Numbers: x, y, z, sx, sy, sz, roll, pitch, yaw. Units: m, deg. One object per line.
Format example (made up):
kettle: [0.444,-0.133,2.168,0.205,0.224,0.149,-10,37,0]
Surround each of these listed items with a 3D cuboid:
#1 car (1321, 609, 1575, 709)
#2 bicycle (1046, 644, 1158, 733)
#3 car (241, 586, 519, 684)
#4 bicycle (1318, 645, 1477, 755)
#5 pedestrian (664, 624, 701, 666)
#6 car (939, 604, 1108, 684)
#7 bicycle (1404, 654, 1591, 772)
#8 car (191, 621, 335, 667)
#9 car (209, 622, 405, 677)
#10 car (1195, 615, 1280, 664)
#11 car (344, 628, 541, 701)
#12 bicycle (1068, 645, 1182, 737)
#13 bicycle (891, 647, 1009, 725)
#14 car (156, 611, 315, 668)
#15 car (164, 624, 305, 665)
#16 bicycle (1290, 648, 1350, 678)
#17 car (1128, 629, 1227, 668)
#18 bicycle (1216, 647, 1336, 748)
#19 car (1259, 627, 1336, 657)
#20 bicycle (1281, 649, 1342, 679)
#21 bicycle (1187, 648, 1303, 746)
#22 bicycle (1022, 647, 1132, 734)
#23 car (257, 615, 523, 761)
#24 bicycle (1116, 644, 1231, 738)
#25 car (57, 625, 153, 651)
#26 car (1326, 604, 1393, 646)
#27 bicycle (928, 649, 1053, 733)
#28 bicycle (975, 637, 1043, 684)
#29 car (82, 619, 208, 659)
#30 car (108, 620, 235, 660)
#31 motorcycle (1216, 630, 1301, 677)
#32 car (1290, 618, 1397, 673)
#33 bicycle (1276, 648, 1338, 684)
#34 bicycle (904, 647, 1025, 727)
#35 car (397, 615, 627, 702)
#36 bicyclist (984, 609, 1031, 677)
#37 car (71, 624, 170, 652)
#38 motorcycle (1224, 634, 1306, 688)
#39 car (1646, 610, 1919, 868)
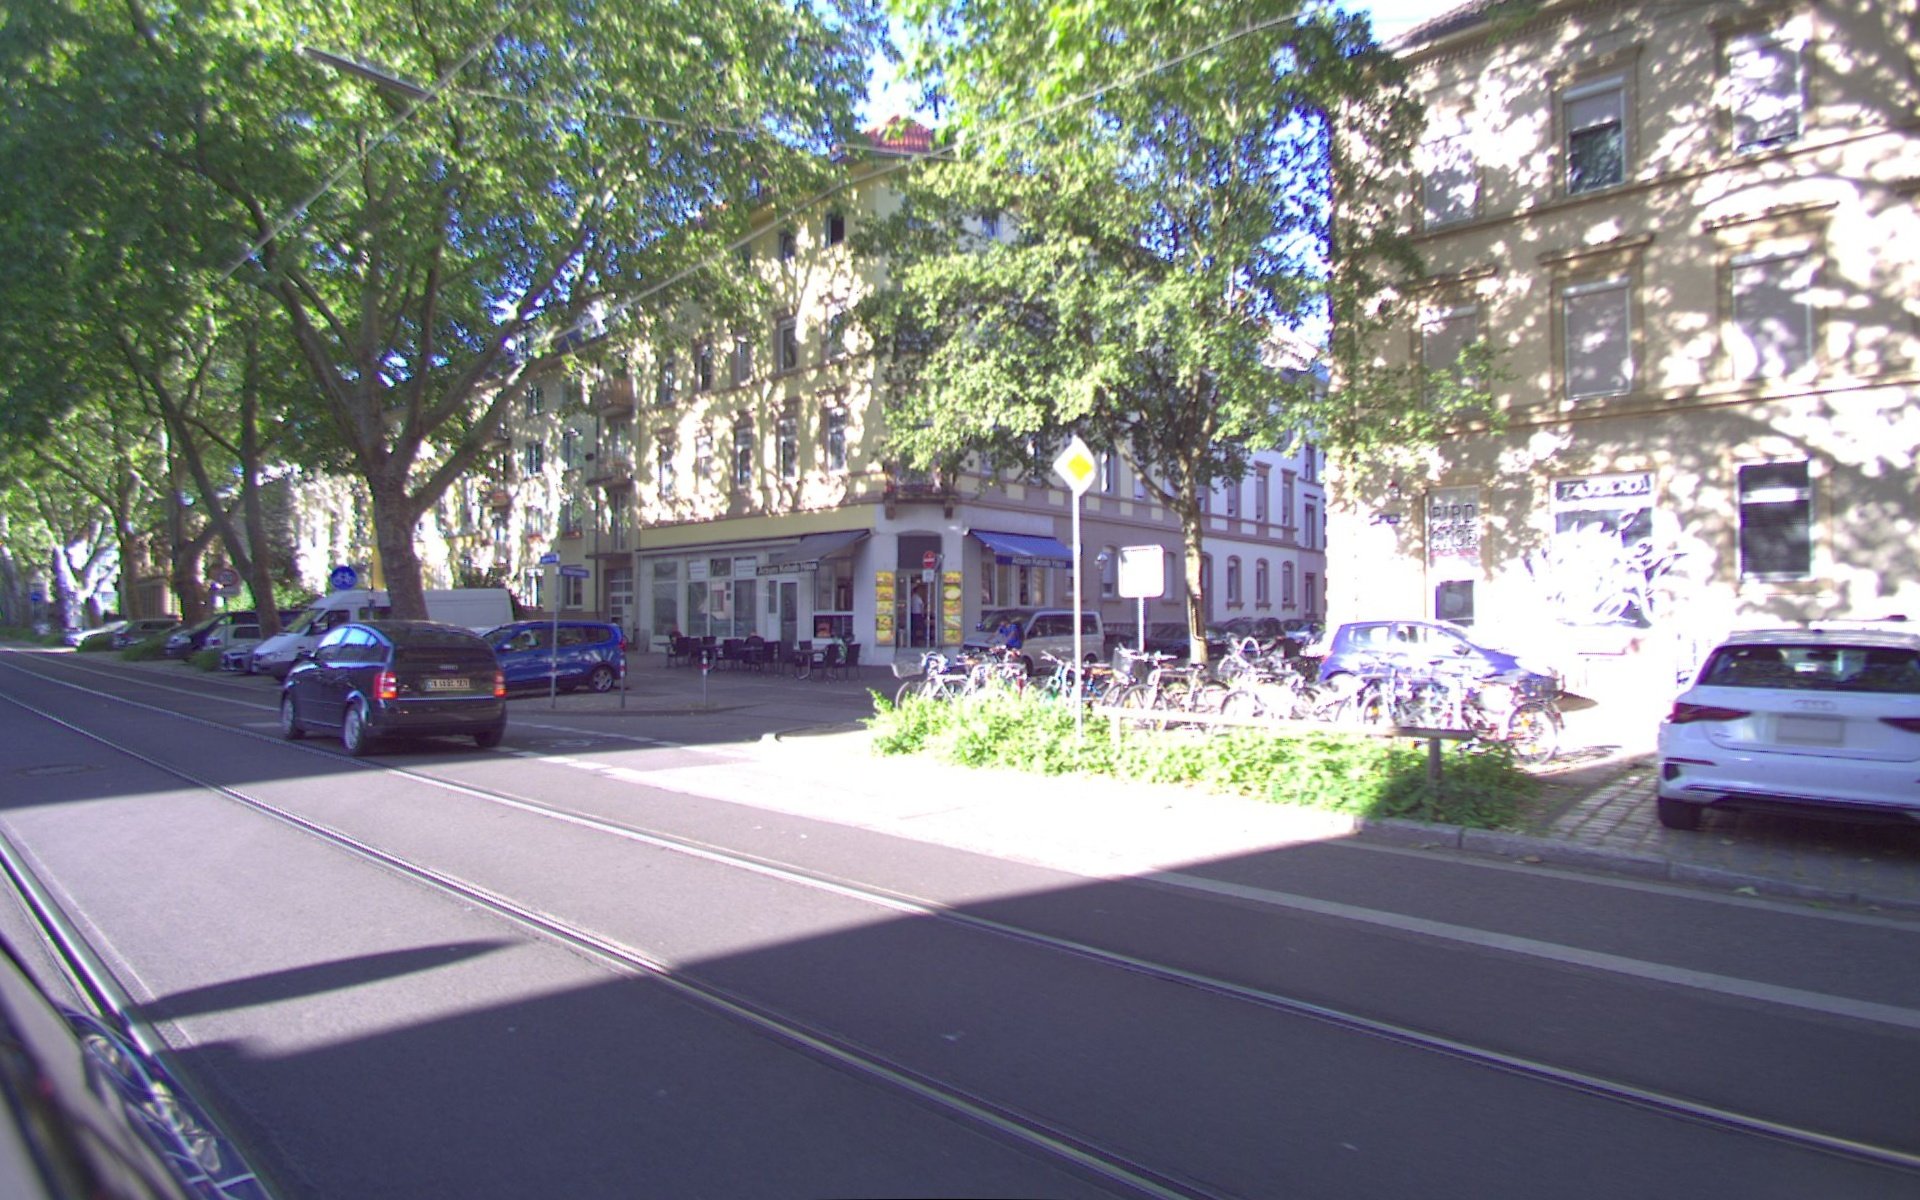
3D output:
car: [7.931,0.904,16.568,3.485,1.471,1.583,-1,-2,39]
bicycle: [1.883,1.135,13.311,1.536,1.096,0.397,1,-2,-30]
car: [-16.253,0.885,28.760,1.999,2.426,6.532,-2,0,42]
bicycle: [4.863,1.063,11.202,1.892,1.096,0.599,1,-2,-30]
pedestrian: [-8.484,1.360,30.942,0.930,1.250,0.699,-2,-2,43]
car: [1.798,1.117,27.409,2.130,1.894,4.521,2,1,44]
bicycle: [5.320,1.081,10.006,1.775,1.051,0.599,0,-2,-21]
car: [-25.519,1.594,37.134,1.869,1.456,4.015,-2,0,42]
car: [-20.588,1.508,32.087,1.999,1.456,4.879,-2,0,42]
car: [10.177,1.401,37.035,1.756,1.706,3.130,-1,-2,43]
car: [-11.993,1.436,23.639,1.744,1.529,3.736,-1,-2,35]
bicycle: [2.117,1.130,12.927,1.536,1.096,0.397,1,-2,-30]
bicycle: [-0.138,1.276,15.302,1.830,1.096,0.397,1,-2,-30]
car: [-27.557,1.466,38.604,1.920,1.922,4.580,-2,0,40]
car: [-28.885,1.734,40.368,1.657,1.418,4.309,-2,0,42]
bicycle: [9.482,1.641,26.656,1.453,0.738,0.393,-1,-2,43]
car: [7.220,1.572,33.508,1.756,1.186,3.351,-1,-2,42]
bicycle: [3.718,1.118,11.868,1.536,1.096,0.397,1,-2,-30]
car: [13.776,1.681,41.238,1.756,1.186,3.351,-1,-2,42]
bicycle: [9.097,1.651,26.219,1.453,0.738,0.393,-1,-2,43]
bicycle: [3.480,1.151,12.303,1.536,1.096,0.397,1,-2,-30]
bicycle: [1.589,1.200,13.674,1.536,1.096,0.397,1,-2,-30]
car: [-7.053,0.982,12.395,3.689,1.521,1.618,-1,-3,40]
bicycle: [2.689,1.119,12.701,1.536,1.096,0.397,1,-2,-30]
car: [-48.280,2.107,57.196,1.410,1.385,3.948,-1,-1,38]
car: [18.146,1.130,45.915,1.756,1.802,3.351,-1,-2,42]
bicycle: [0.450,1.253,14.275,1.830,1.096,0.397,1,-2,-30]
bicycle: [1.169,1.395,23.796,0.628,1.039,1.852,-2,-2,39]
car: [-38.173,1.801,47.468,1.999,1.625,4.309,-2,0,42]
car: [-36.236,1.799,46.569,1.999,1.625,4.309,-2,0,42]
motorcycle: [6.999,1.240,23.765,1.830,1.080,0.526,-1,-2,29]
car: [11.057,1.270,29.113,1.756,1.475,3.351,-1,-2,42]
bicycle: [8.753,1.655,25.551,1.453,0.866,0.393,-1,-2,43]
bicycle: [0.085,1.262,14.938,1.830,1.096,0.397,1,-2,-30]
car: [-9.701,1.205,22.193,1.814,1.725,4.278,-1,-2,38]
bicyclist: [1.122,0.997,23.741,0.736,1.538,0.858,-2,-2,39]
car: [-45.978,2.049,55.506,1.599,1.442,3.948,-1,-1,38]
motorcycle: [7.485,1.479,24.914,0.581,1.271,1.877,1,-2,-43]
car: [6.487,0.820,7.502,1.878,1.471,3.946,-1,-2,41]
